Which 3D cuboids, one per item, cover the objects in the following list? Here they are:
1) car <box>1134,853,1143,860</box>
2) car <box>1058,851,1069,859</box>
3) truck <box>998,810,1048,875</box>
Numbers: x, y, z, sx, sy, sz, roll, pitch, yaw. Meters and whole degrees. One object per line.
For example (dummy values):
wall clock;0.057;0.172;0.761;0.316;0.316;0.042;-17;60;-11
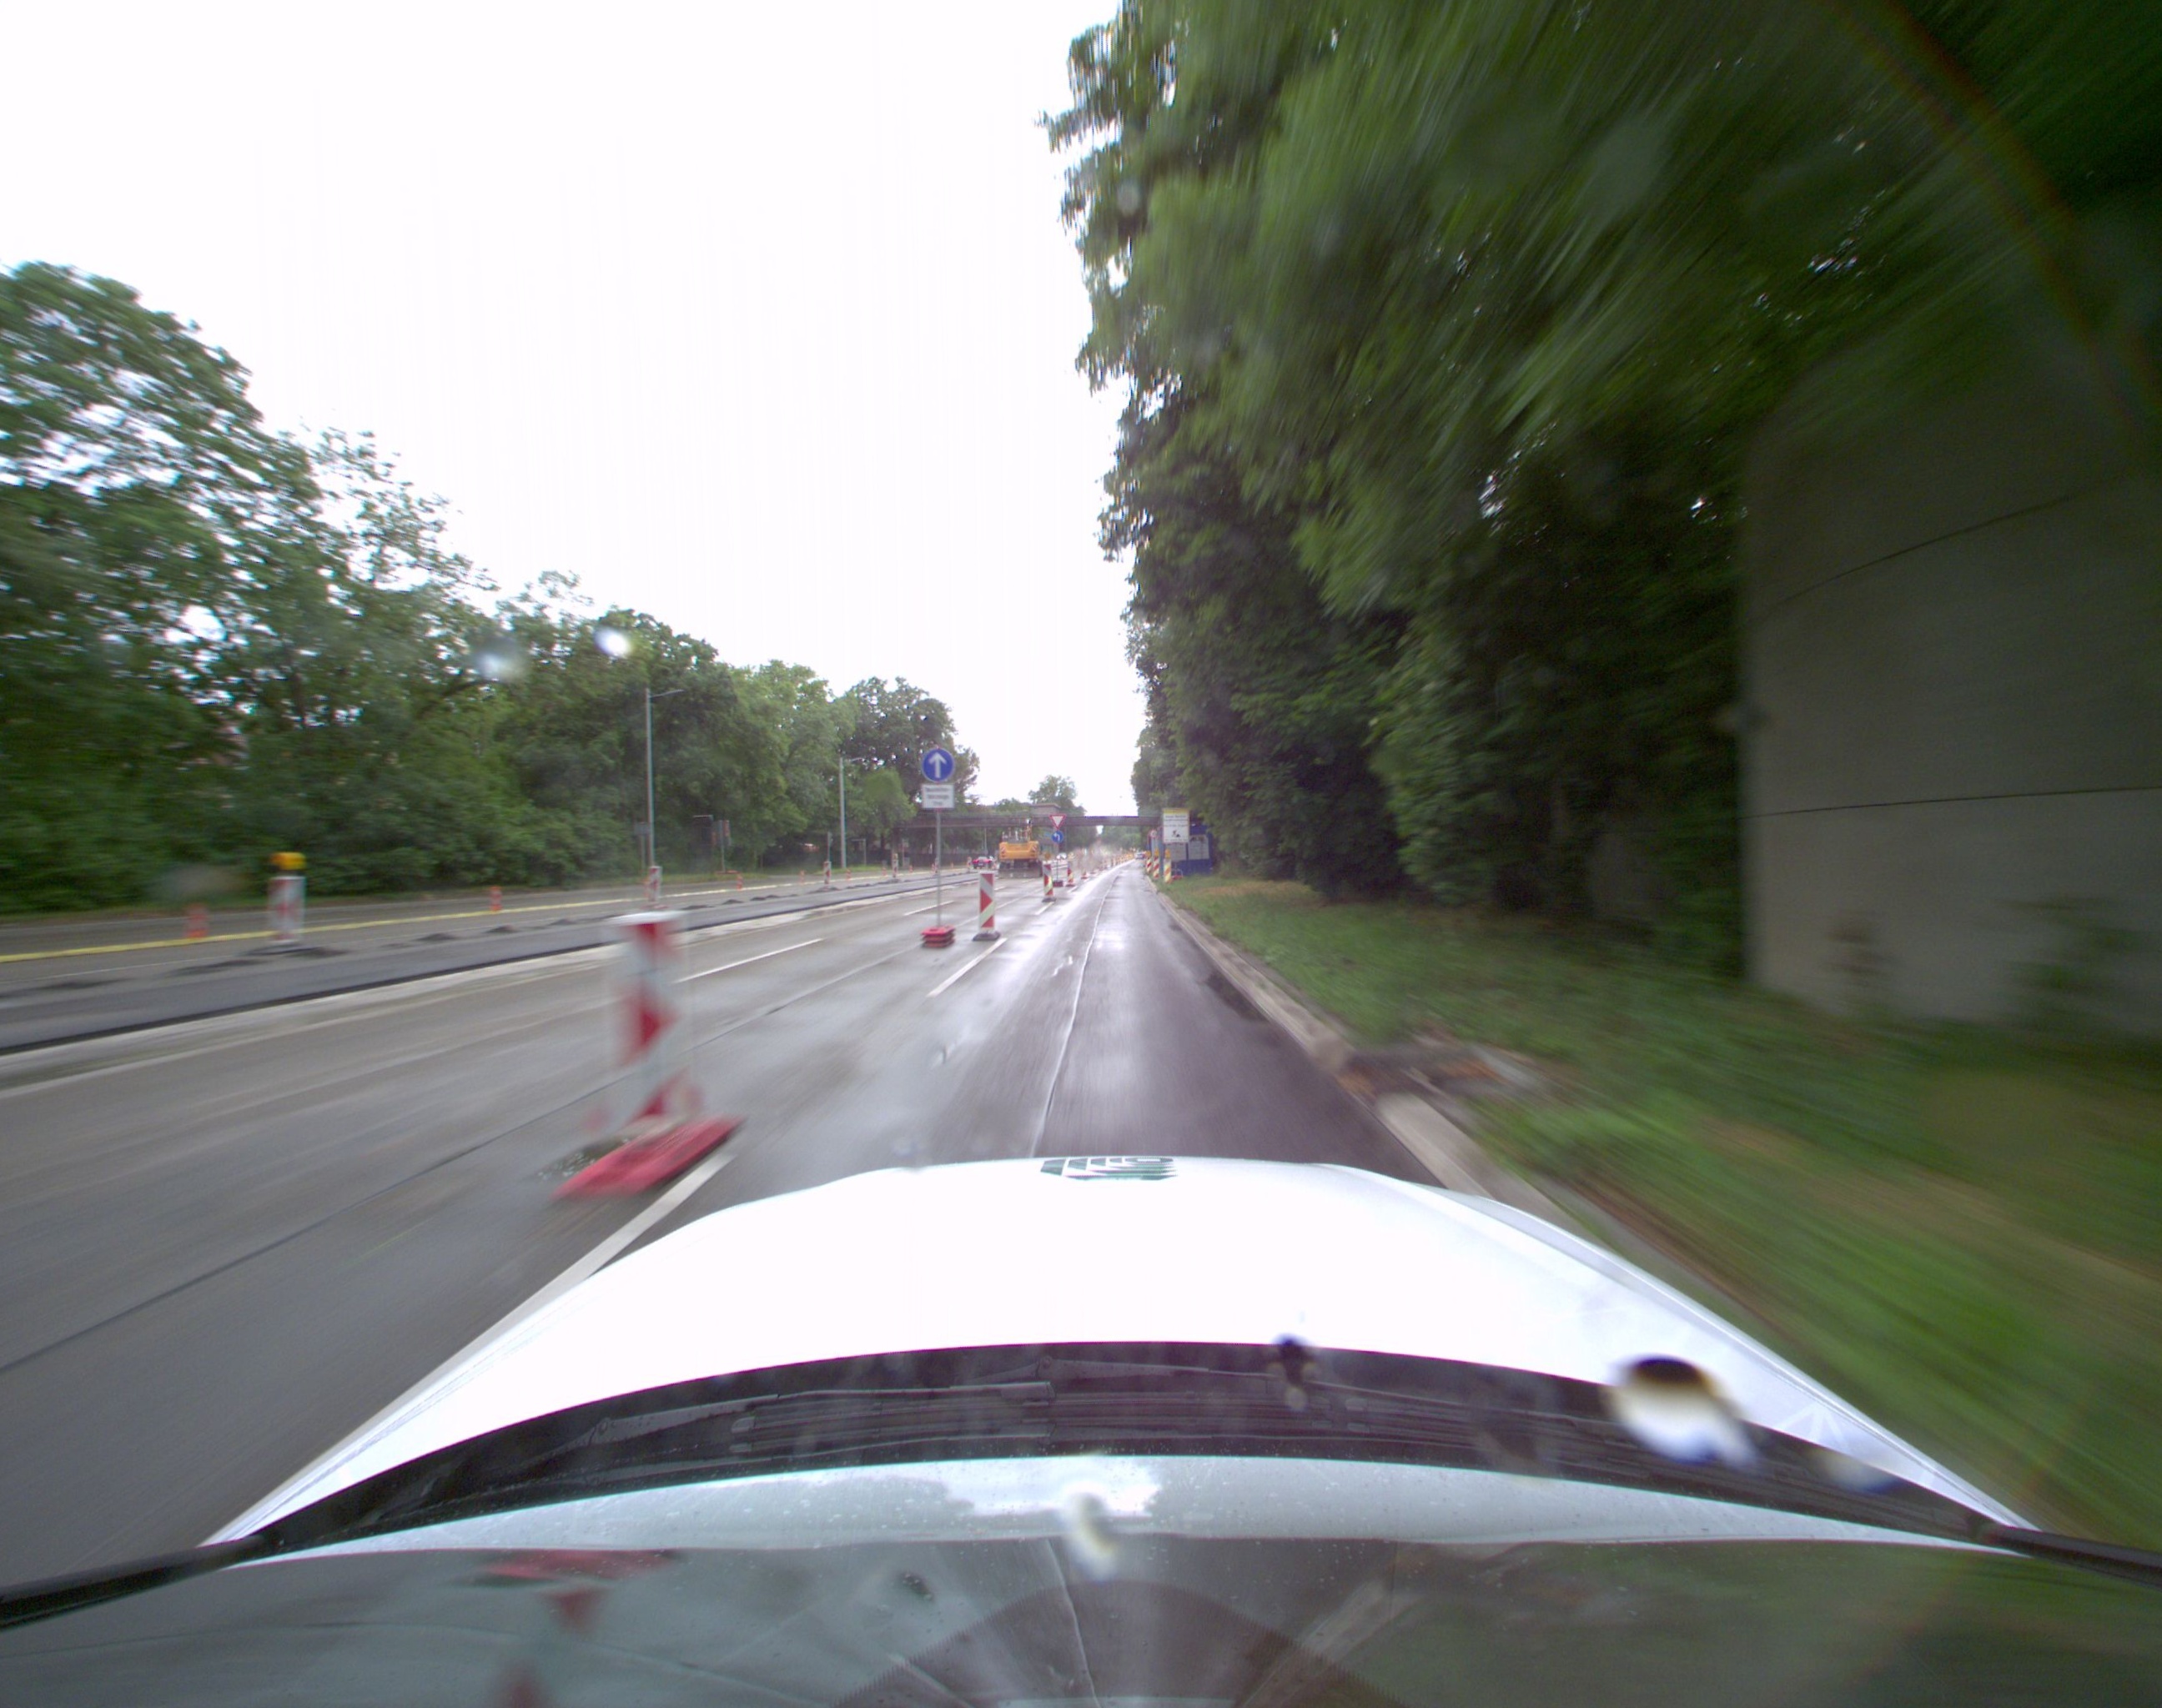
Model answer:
car;13.009;0.582;183.461;1.984;1.640;4.005;-2;0;4
car;-4.070;0.170;186.420;1.961;1.806;4.615;-2;0;5
truck;-4.054;-0.791;58.979;2.888;4.259;10.753;0;0;0
